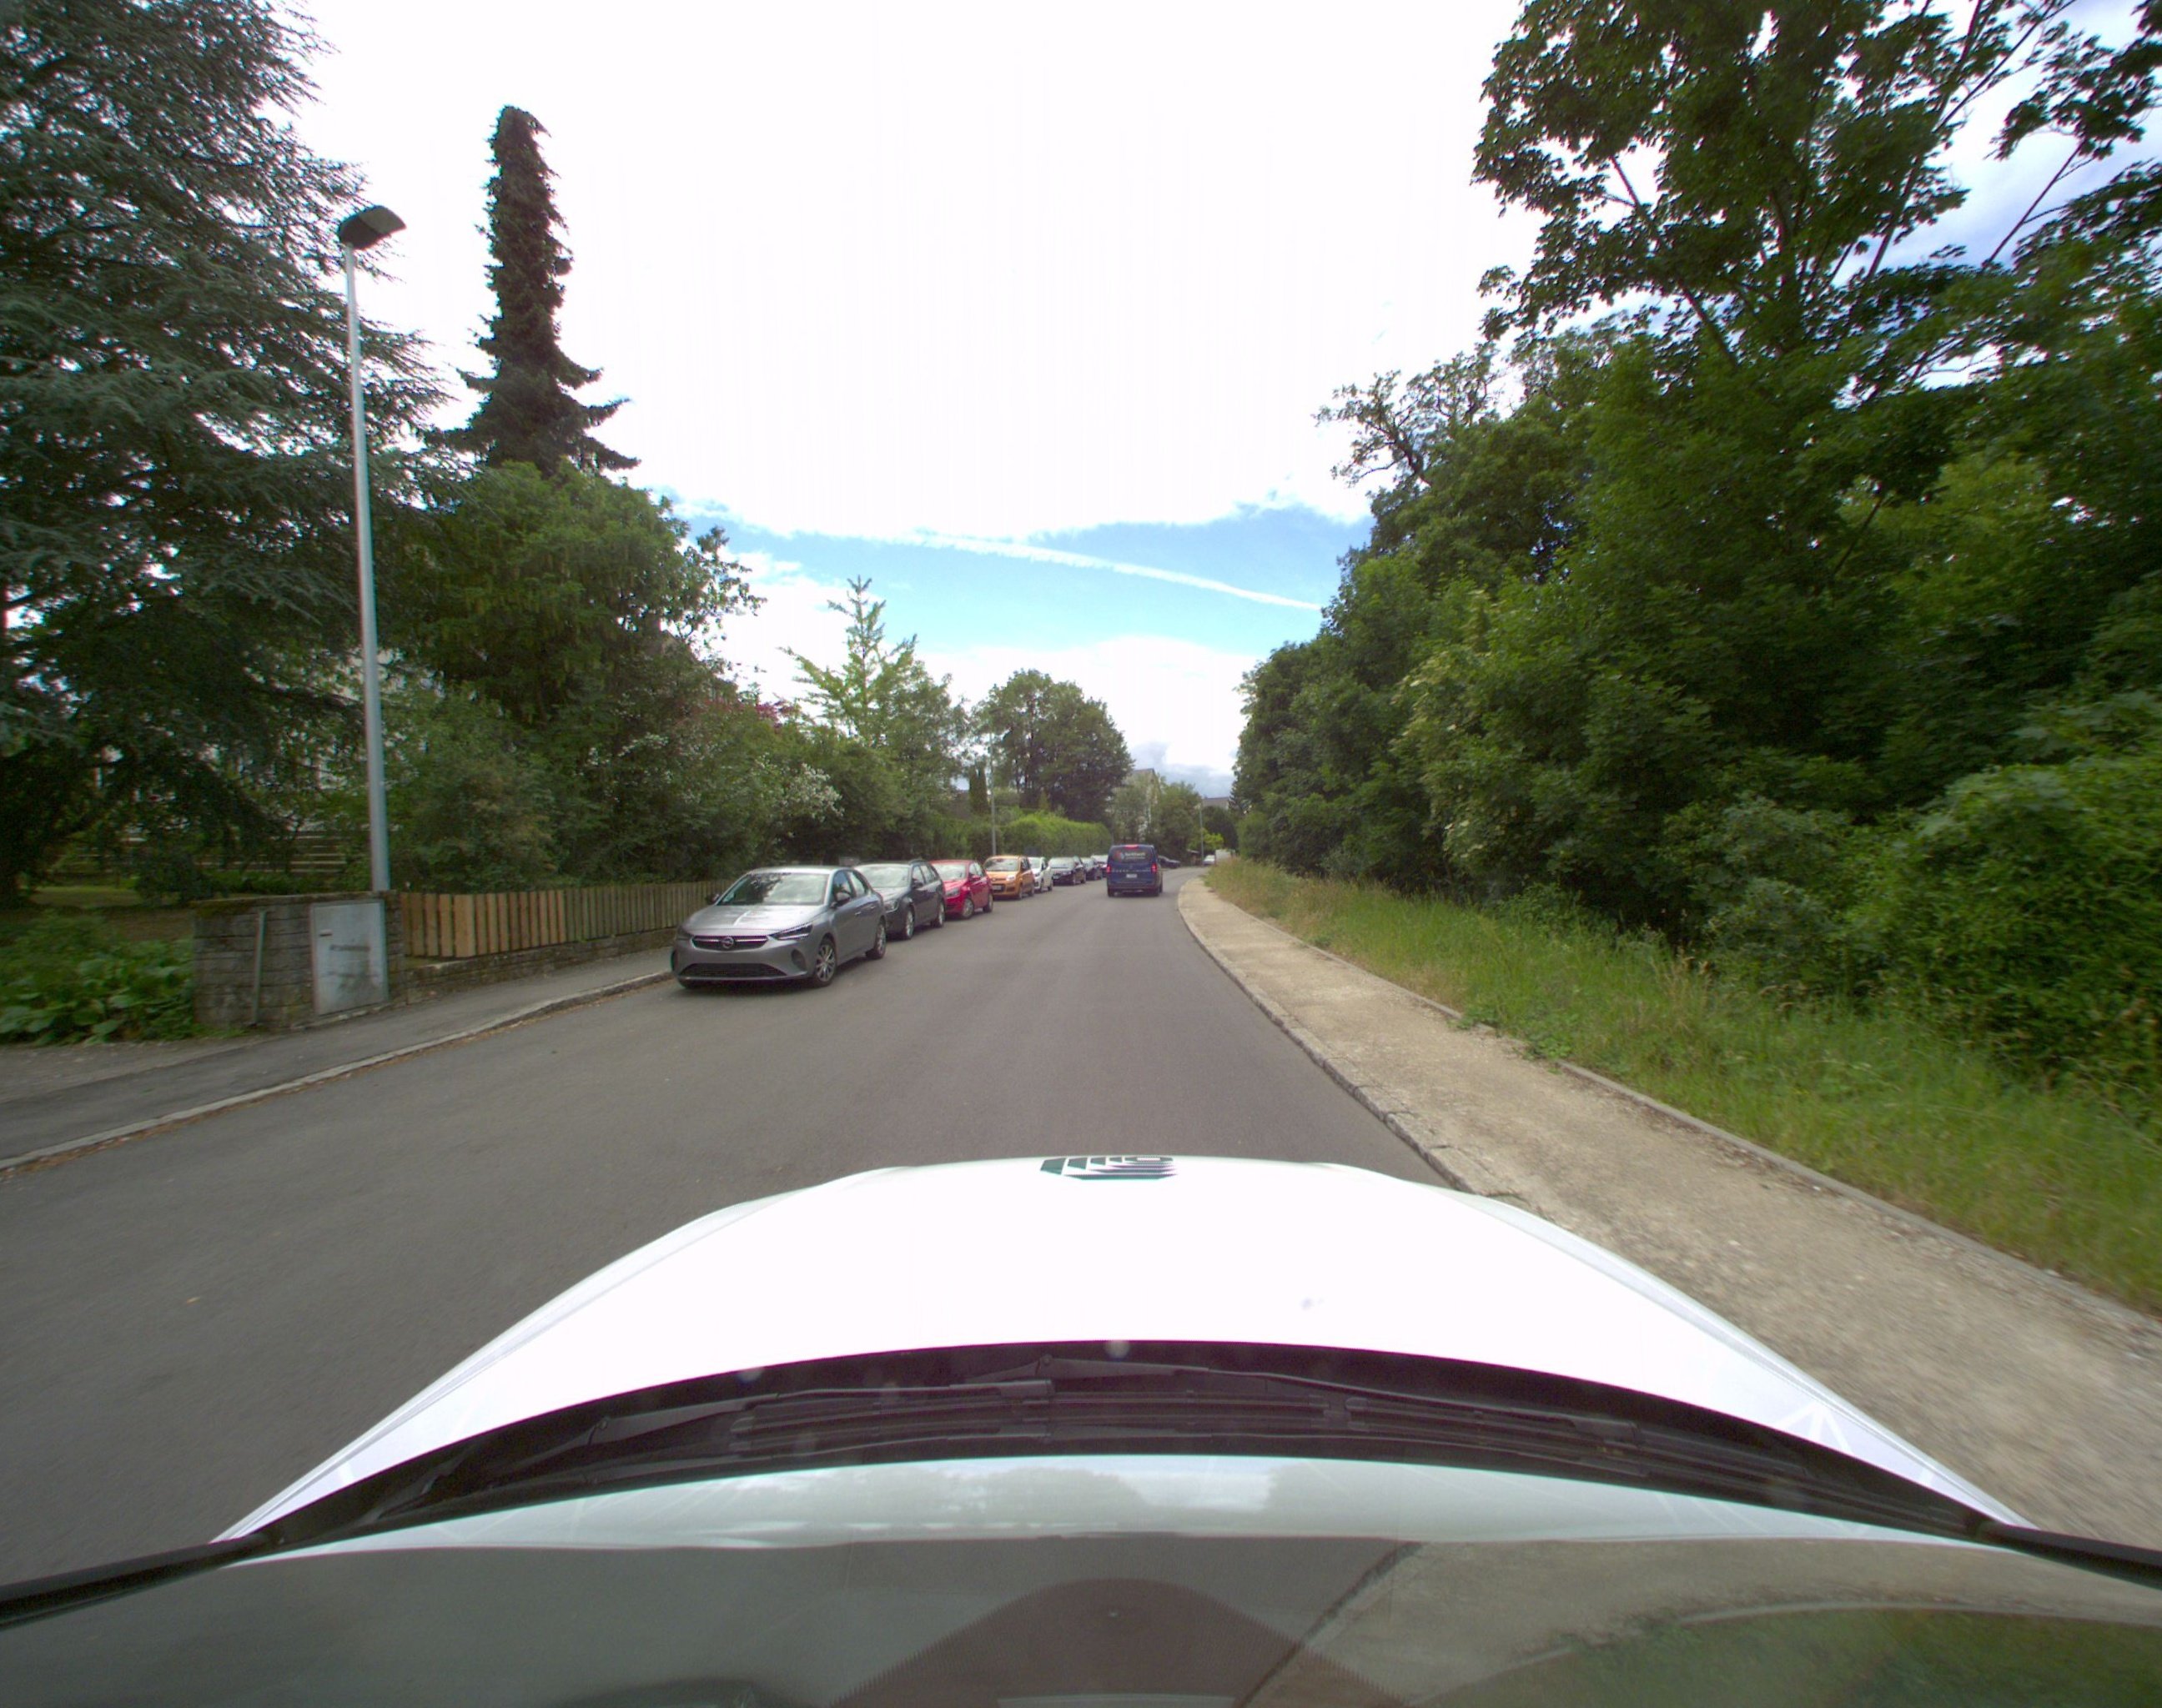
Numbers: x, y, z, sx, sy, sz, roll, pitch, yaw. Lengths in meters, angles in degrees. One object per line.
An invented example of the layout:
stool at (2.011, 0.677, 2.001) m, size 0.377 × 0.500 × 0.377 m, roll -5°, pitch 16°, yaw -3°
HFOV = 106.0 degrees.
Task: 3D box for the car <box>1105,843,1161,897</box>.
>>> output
car at (1.973, 0.552, 30.924) m, size 1.928 × 1.880 × 4.535 m, roll -1°, pitch 0°, yaw 4°

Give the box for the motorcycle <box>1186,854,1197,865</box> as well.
motorcycle at (14.535, 0.725, 106.853) m, size 0.803 × 1.485 × 2.911 m, roll -1°, pitch -1°, yaw 21°

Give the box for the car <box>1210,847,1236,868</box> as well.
car at (14.936, 0.383, 85.589) m, size 2.190 × 2.064 × 6.158 m, roll -1°, pitch -1°, yaw 14°

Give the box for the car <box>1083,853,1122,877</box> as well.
car at (1.452, 0.683, 53.268) m, size 1.645 × 1.533 × 4.491 m, roll 0°, pitch 0°, yaw 14°

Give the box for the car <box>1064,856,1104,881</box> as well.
car at (0.226, 0.809, 47.578) m, size 1.701 × 1.341 × 4.119 m, roll 0°, pitch 0°, yaw 10°

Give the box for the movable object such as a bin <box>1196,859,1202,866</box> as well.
movable object such as a bin at (15.722, 1.092, 108.666) m, size 0.585 × 0.909 × 0.704 m, roll -1°, pitch -1°, yaw 25°

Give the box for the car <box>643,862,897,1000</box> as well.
car at (-3.810, 0.847, 10.814) m, size 1.701 × 1.410 × 4.161 m, roll -1°, pitch 0°, yaw 1°

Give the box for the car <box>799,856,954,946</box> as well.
car at (-3.892, 0.822, 16.333) m, size 1.699 × 1.514 × 4.500 m, roll -1°, pitch 0°, yaw 4°

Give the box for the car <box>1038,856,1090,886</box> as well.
car at (-0.790, 0.808, 41.189) m, size 1.707 × 1.385 × 4.677 m, roll -1°, pitch 0°, yaw 11°

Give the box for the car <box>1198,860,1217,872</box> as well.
car at (16.069, 1.494, 103.552) m, size 1.691 × 1.468 × 4.095 m, roll -1°, pitch -1°, yaw 19°

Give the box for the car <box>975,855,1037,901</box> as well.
car at (-2.611, 0.801, 29.142) m, size 1.536 × 1.514 × 3.650 m, roll -1°, pitch 0°, yaw 6°

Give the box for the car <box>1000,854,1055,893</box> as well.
car at (-2.157, 0.762, 33.659) m, size 1.579 × 1.514 × 3.598 m, roll -1°, pitch 0°, yaw 8°

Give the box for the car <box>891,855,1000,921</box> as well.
car at (-3.390, 0.811, 21.286) m, size 1.698 × 1.514 × 4.370 m, roll -1°, pitch 0°, yaw 6°

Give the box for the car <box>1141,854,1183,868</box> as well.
car at (8.432, 0.728, 84.251) m, size 4.139 × 1.447 × 1.746 m, roll 0°, pitch -1°, yaw 11°
